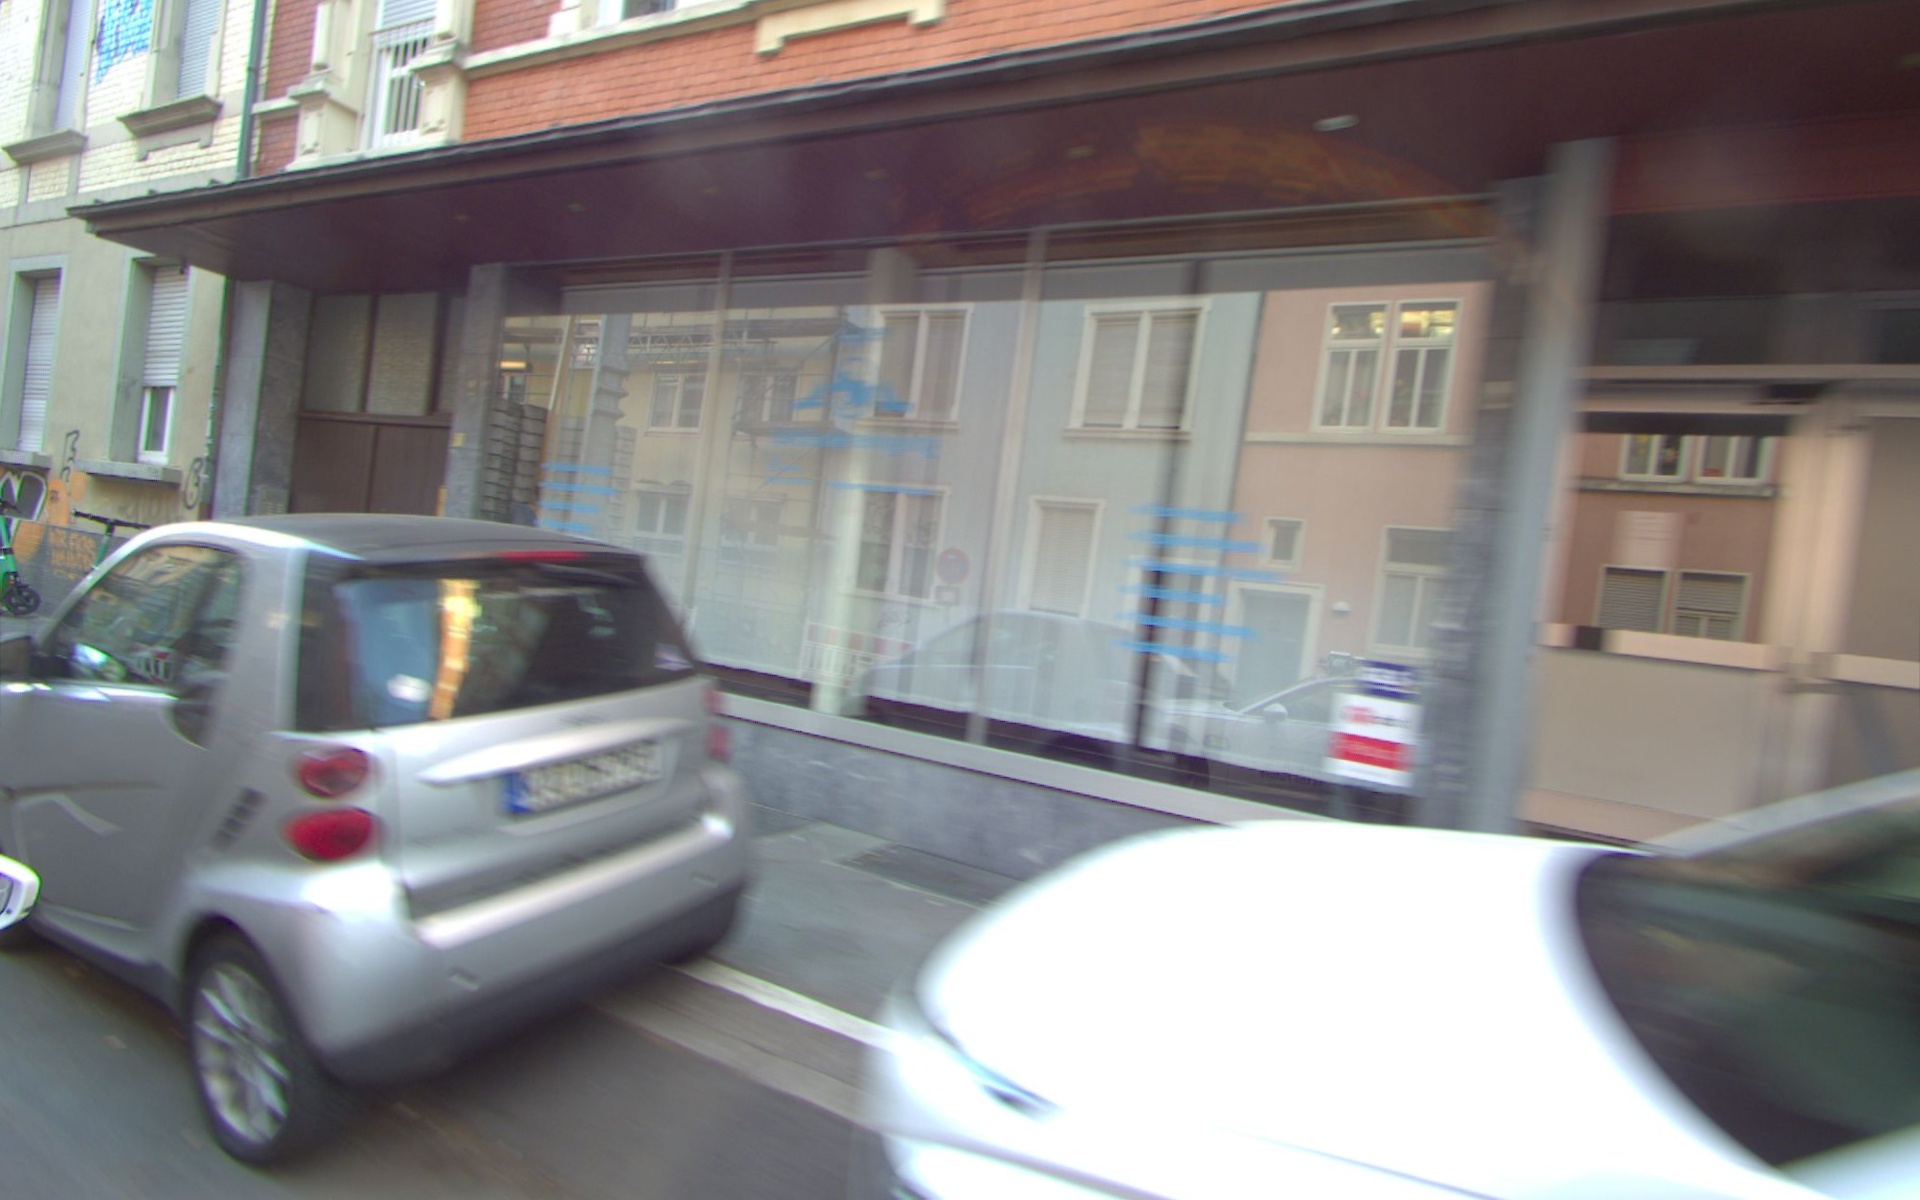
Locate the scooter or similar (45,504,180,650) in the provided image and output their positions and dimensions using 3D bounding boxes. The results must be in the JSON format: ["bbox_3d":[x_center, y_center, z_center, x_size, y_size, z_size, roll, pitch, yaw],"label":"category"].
[{"bbox_3d":[-7.955,-0.230,9.426,1.469,1.194,0.418,7,3,29],"label":"scooter or similar"}]

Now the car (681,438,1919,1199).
[{"bbox_3d":[1.879,0.886,1.183,4.266,1.696,1.749,7,1,30],"label":"car"}]

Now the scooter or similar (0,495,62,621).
[{"bbox_3d":[-9.885,-0.464,10.375,1.469,1.194,0.418,7,3,29],"label":"scooter or similar"}]

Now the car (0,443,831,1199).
[{"bbox_3d":[-2.530,0.366,3.734,3.749,1.580,1.599,7,1,30],"label":"car"}]
